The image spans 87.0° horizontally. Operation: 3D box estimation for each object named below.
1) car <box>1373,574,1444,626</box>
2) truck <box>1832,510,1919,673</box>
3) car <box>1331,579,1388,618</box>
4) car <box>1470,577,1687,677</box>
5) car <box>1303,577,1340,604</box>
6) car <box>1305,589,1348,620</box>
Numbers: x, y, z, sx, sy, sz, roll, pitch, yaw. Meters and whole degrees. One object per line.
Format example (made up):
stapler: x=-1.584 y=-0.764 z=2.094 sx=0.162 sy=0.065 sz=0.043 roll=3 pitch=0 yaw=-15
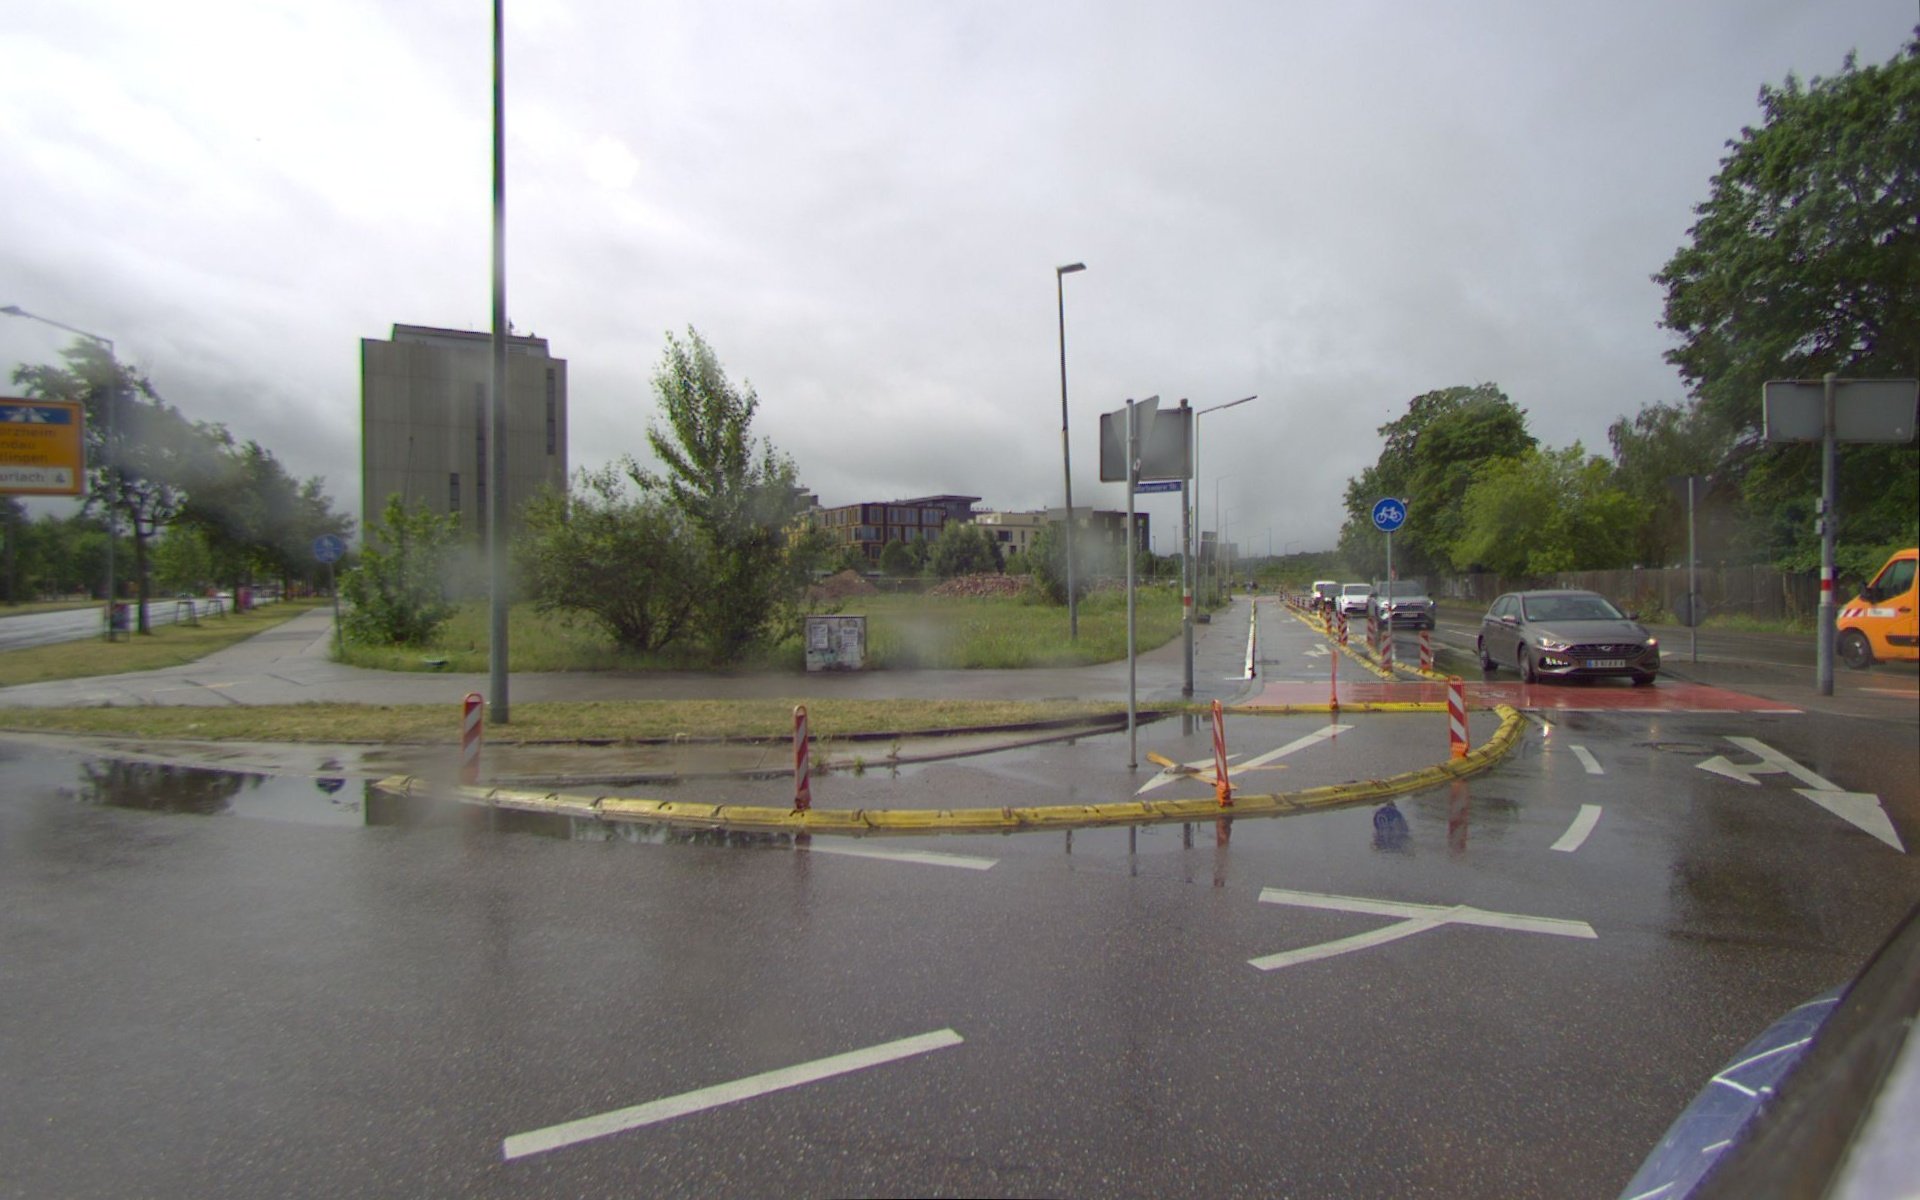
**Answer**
car: x=15.702 y=-0.018 z=35.636 sx=1.851 sy=1.684 sz=4.456 roll=-1 pitch=0 yaw=19
truck: x=17.350 y=-0.121 z=15.422 sx=2.417 sy=2.760 sz=6.939 roll=0 pitch=1 yaw=4
car: x=18.748 y=-0.099 z=47.660 sx=1.848 sy=1.684 sz=4.465 roll=-2 pitch=0 yaw=14
car: x=9.991 y=0.409 z=16.730 sx=1.708 sy=1.431 sz=4.113 roll=-1 pitch=0 yaw=11
car: x=25.056 y=-0.657 z=70.273 sx=1.848 sy=1.684 sz=4.465 roll=-3 pitch=0 yaw=14
car: x=22.087 y=0.248 z=61.162 sx=1.848 sy=1.684 sz=4.465 roll=-3 pitch=0 yaw=14
